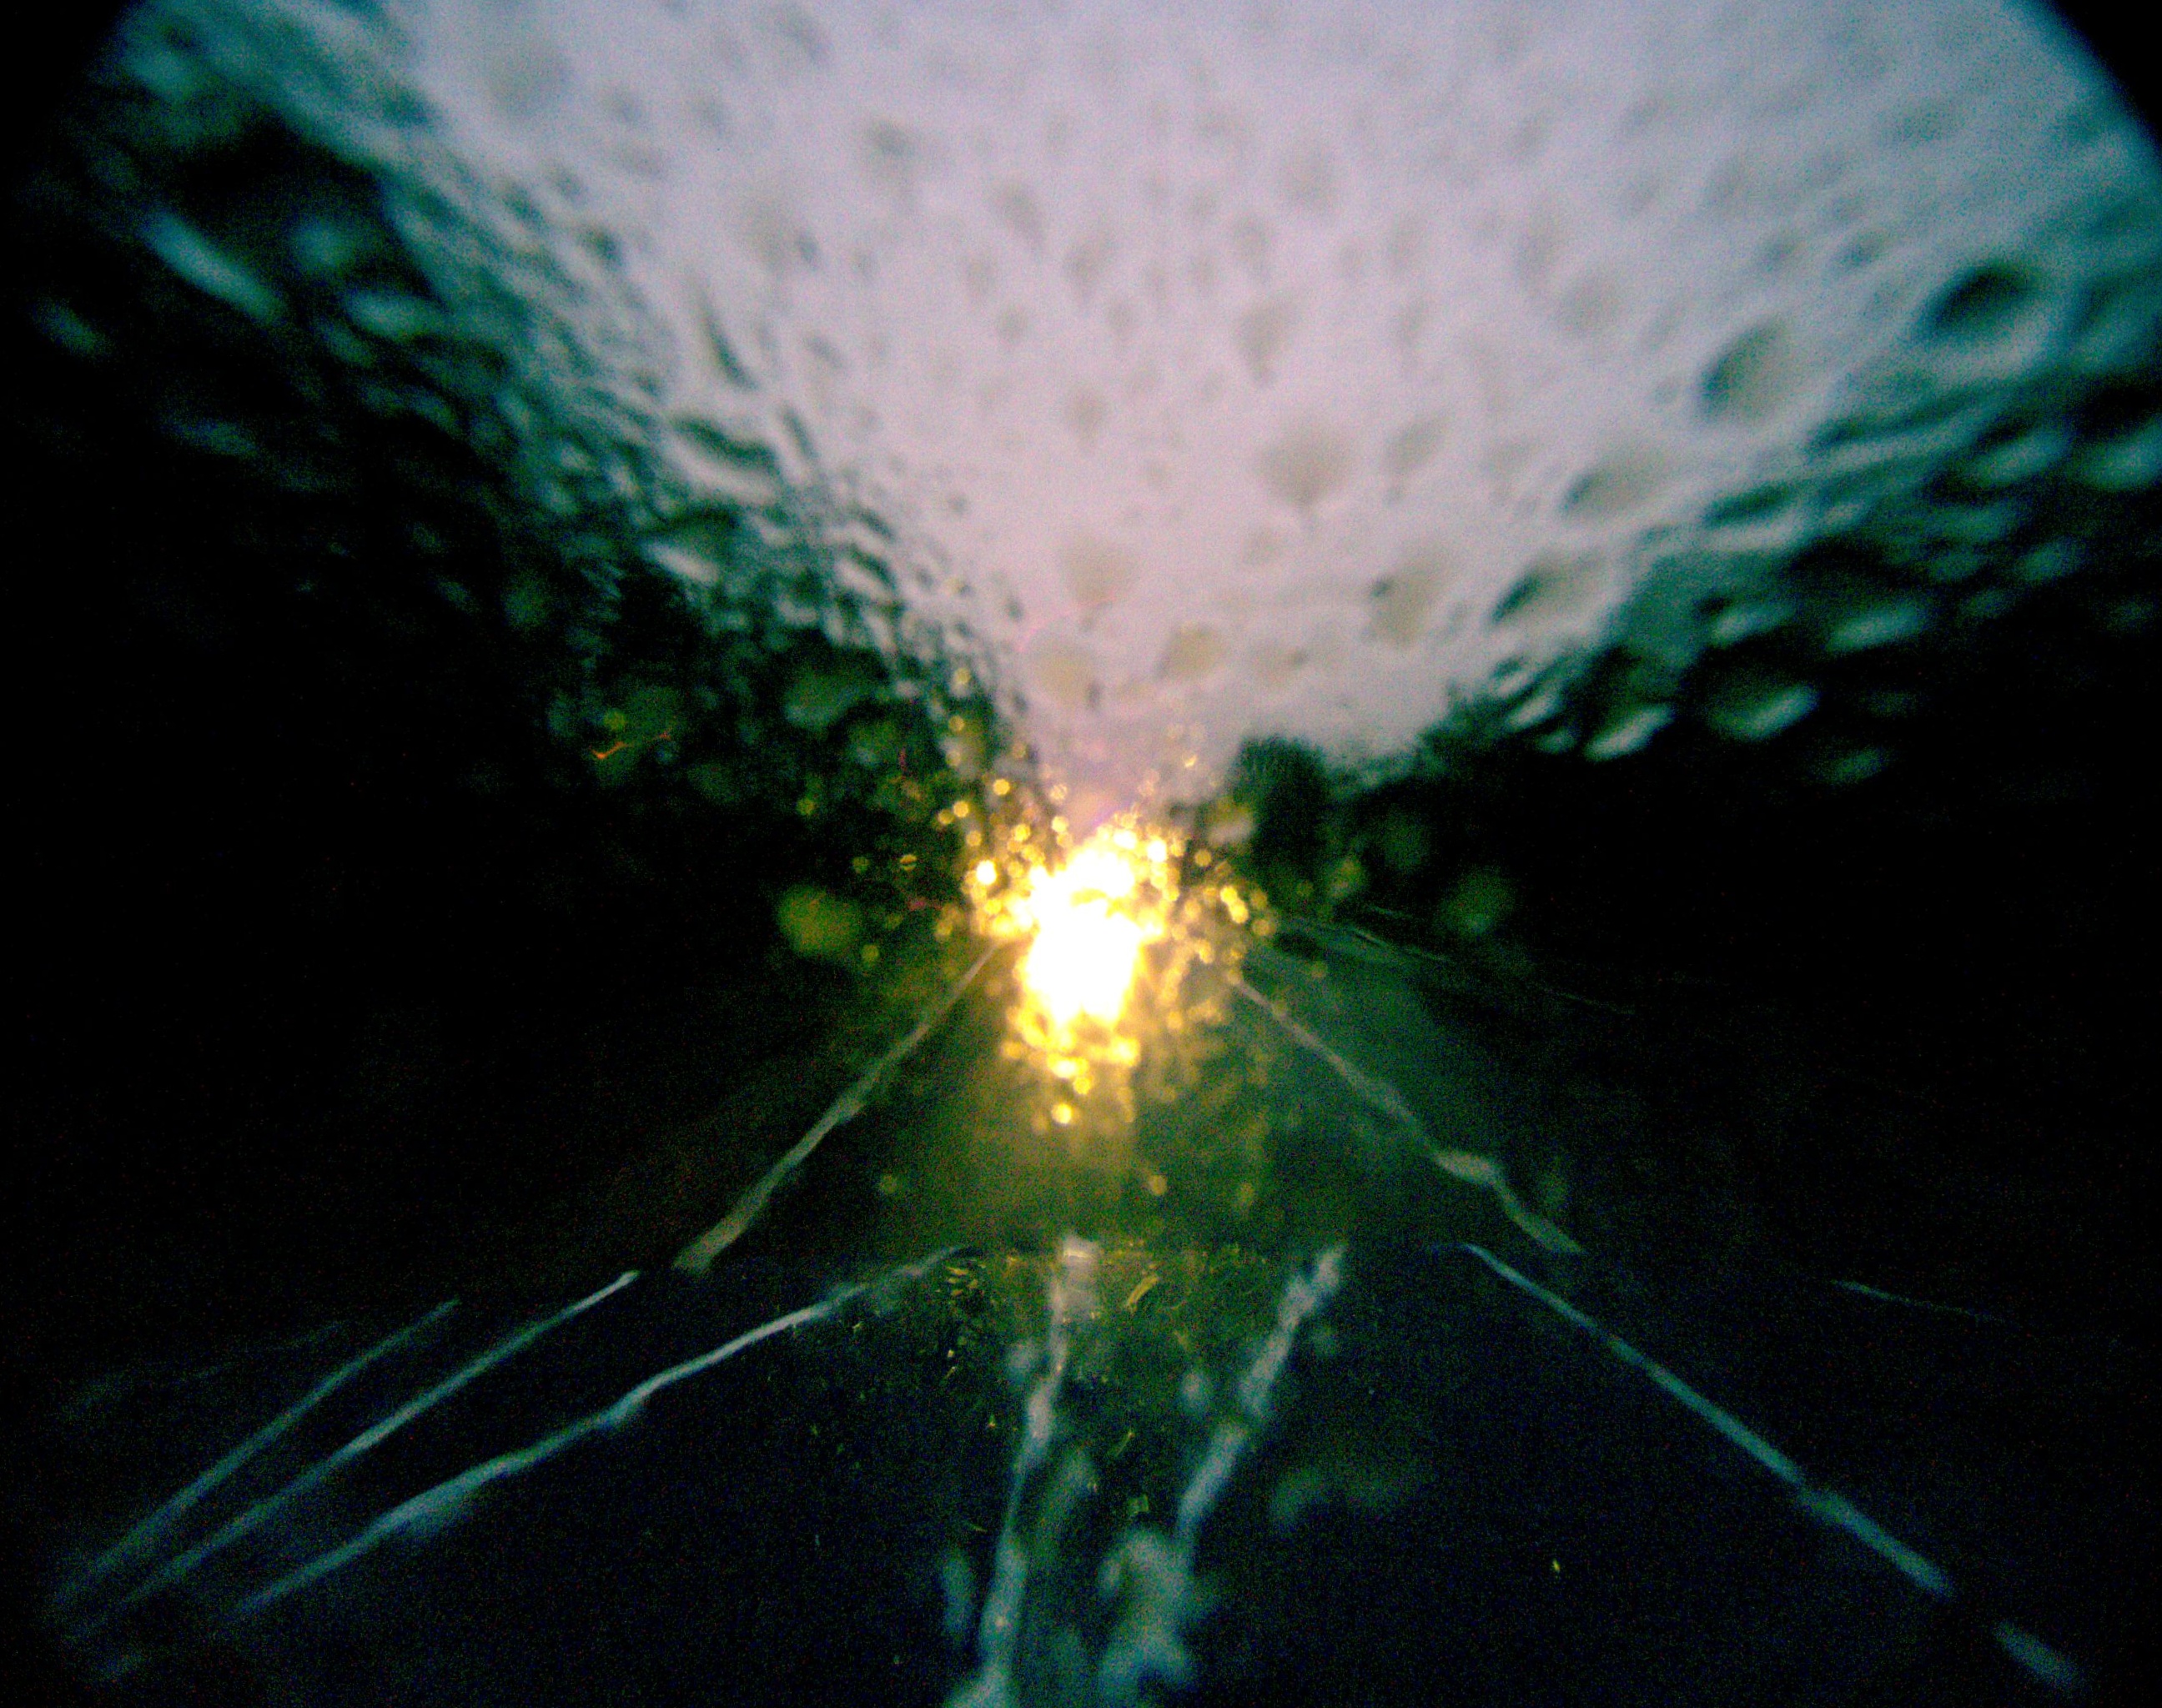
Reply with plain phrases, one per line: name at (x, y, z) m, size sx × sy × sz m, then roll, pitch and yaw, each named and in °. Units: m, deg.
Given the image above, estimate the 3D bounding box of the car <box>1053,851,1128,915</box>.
car at (0.261, 0.800, 22.800) m, size 1.998 × 1.672 × 4.000 m, roll -2°, pitch 0°, yaw 0°
